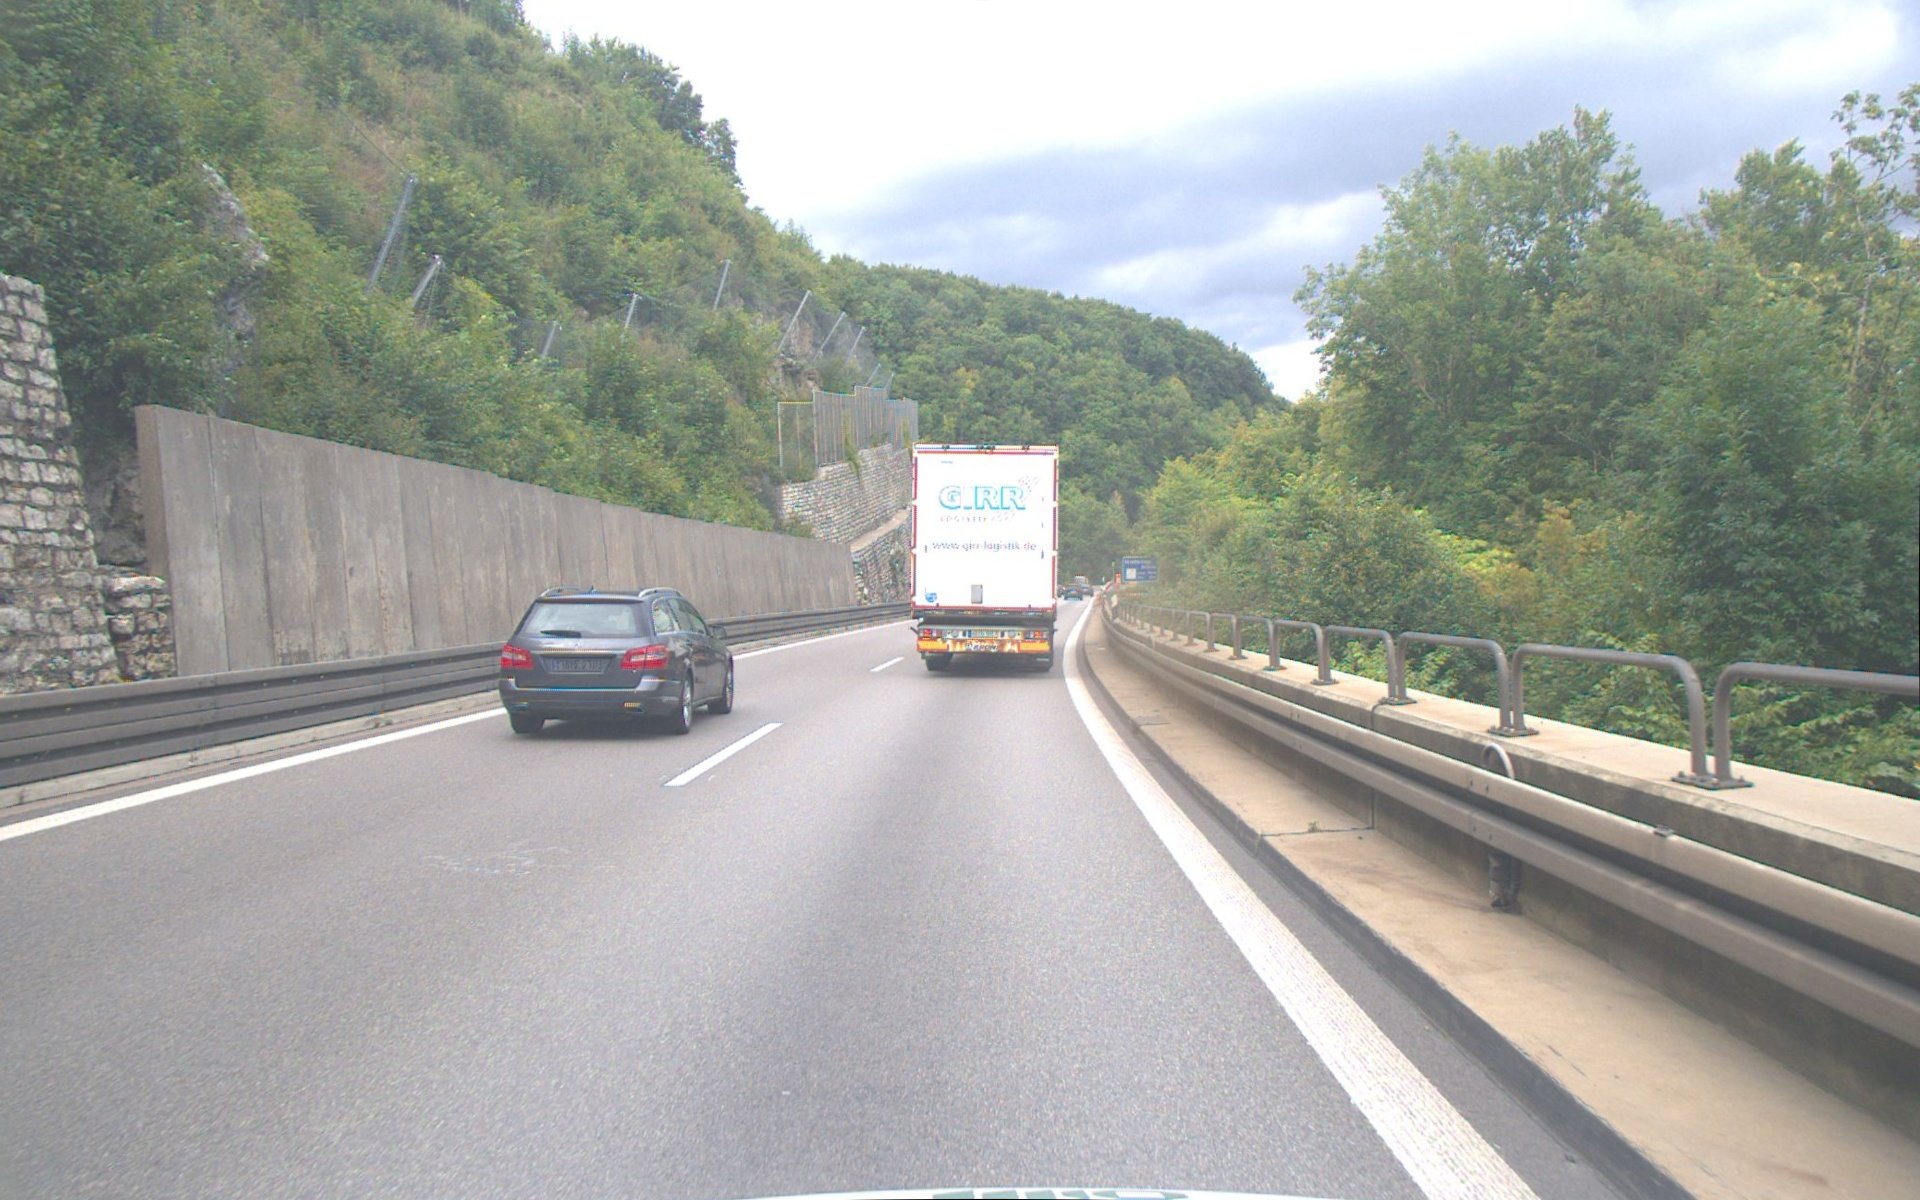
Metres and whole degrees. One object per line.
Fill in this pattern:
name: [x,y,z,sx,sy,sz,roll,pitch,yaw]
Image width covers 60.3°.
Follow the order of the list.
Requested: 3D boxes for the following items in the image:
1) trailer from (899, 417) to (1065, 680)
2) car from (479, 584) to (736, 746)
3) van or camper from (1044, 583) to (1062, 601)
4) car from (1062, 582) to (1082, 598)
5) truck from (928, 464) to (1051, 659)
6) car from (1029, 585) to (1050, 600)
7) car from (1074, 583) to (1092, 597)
trailer: [0.562,-0.871,33.846,2.755,4.378,12.247,0,0,2]
car: [-3.660,0.621,17.996,1.845,1.536,4.418,0,0,0]
van or camper: [10.979,-0.914,194.413,1.951,2.049,4.002,1,0,6]
car: [11.561,-1.043,170.835,1.951,1.600,4.002,0,0,5]
truck: [0.759,-0.873,40.318,2.755,4.378,6.260,0,0,2]
car: [6.271,-0.569,130.584,1.484,1.133,3.679,0,0,-1]
car: [16.114,-1.365,216.489,1.951,1.795,4.003,0,0,9]
